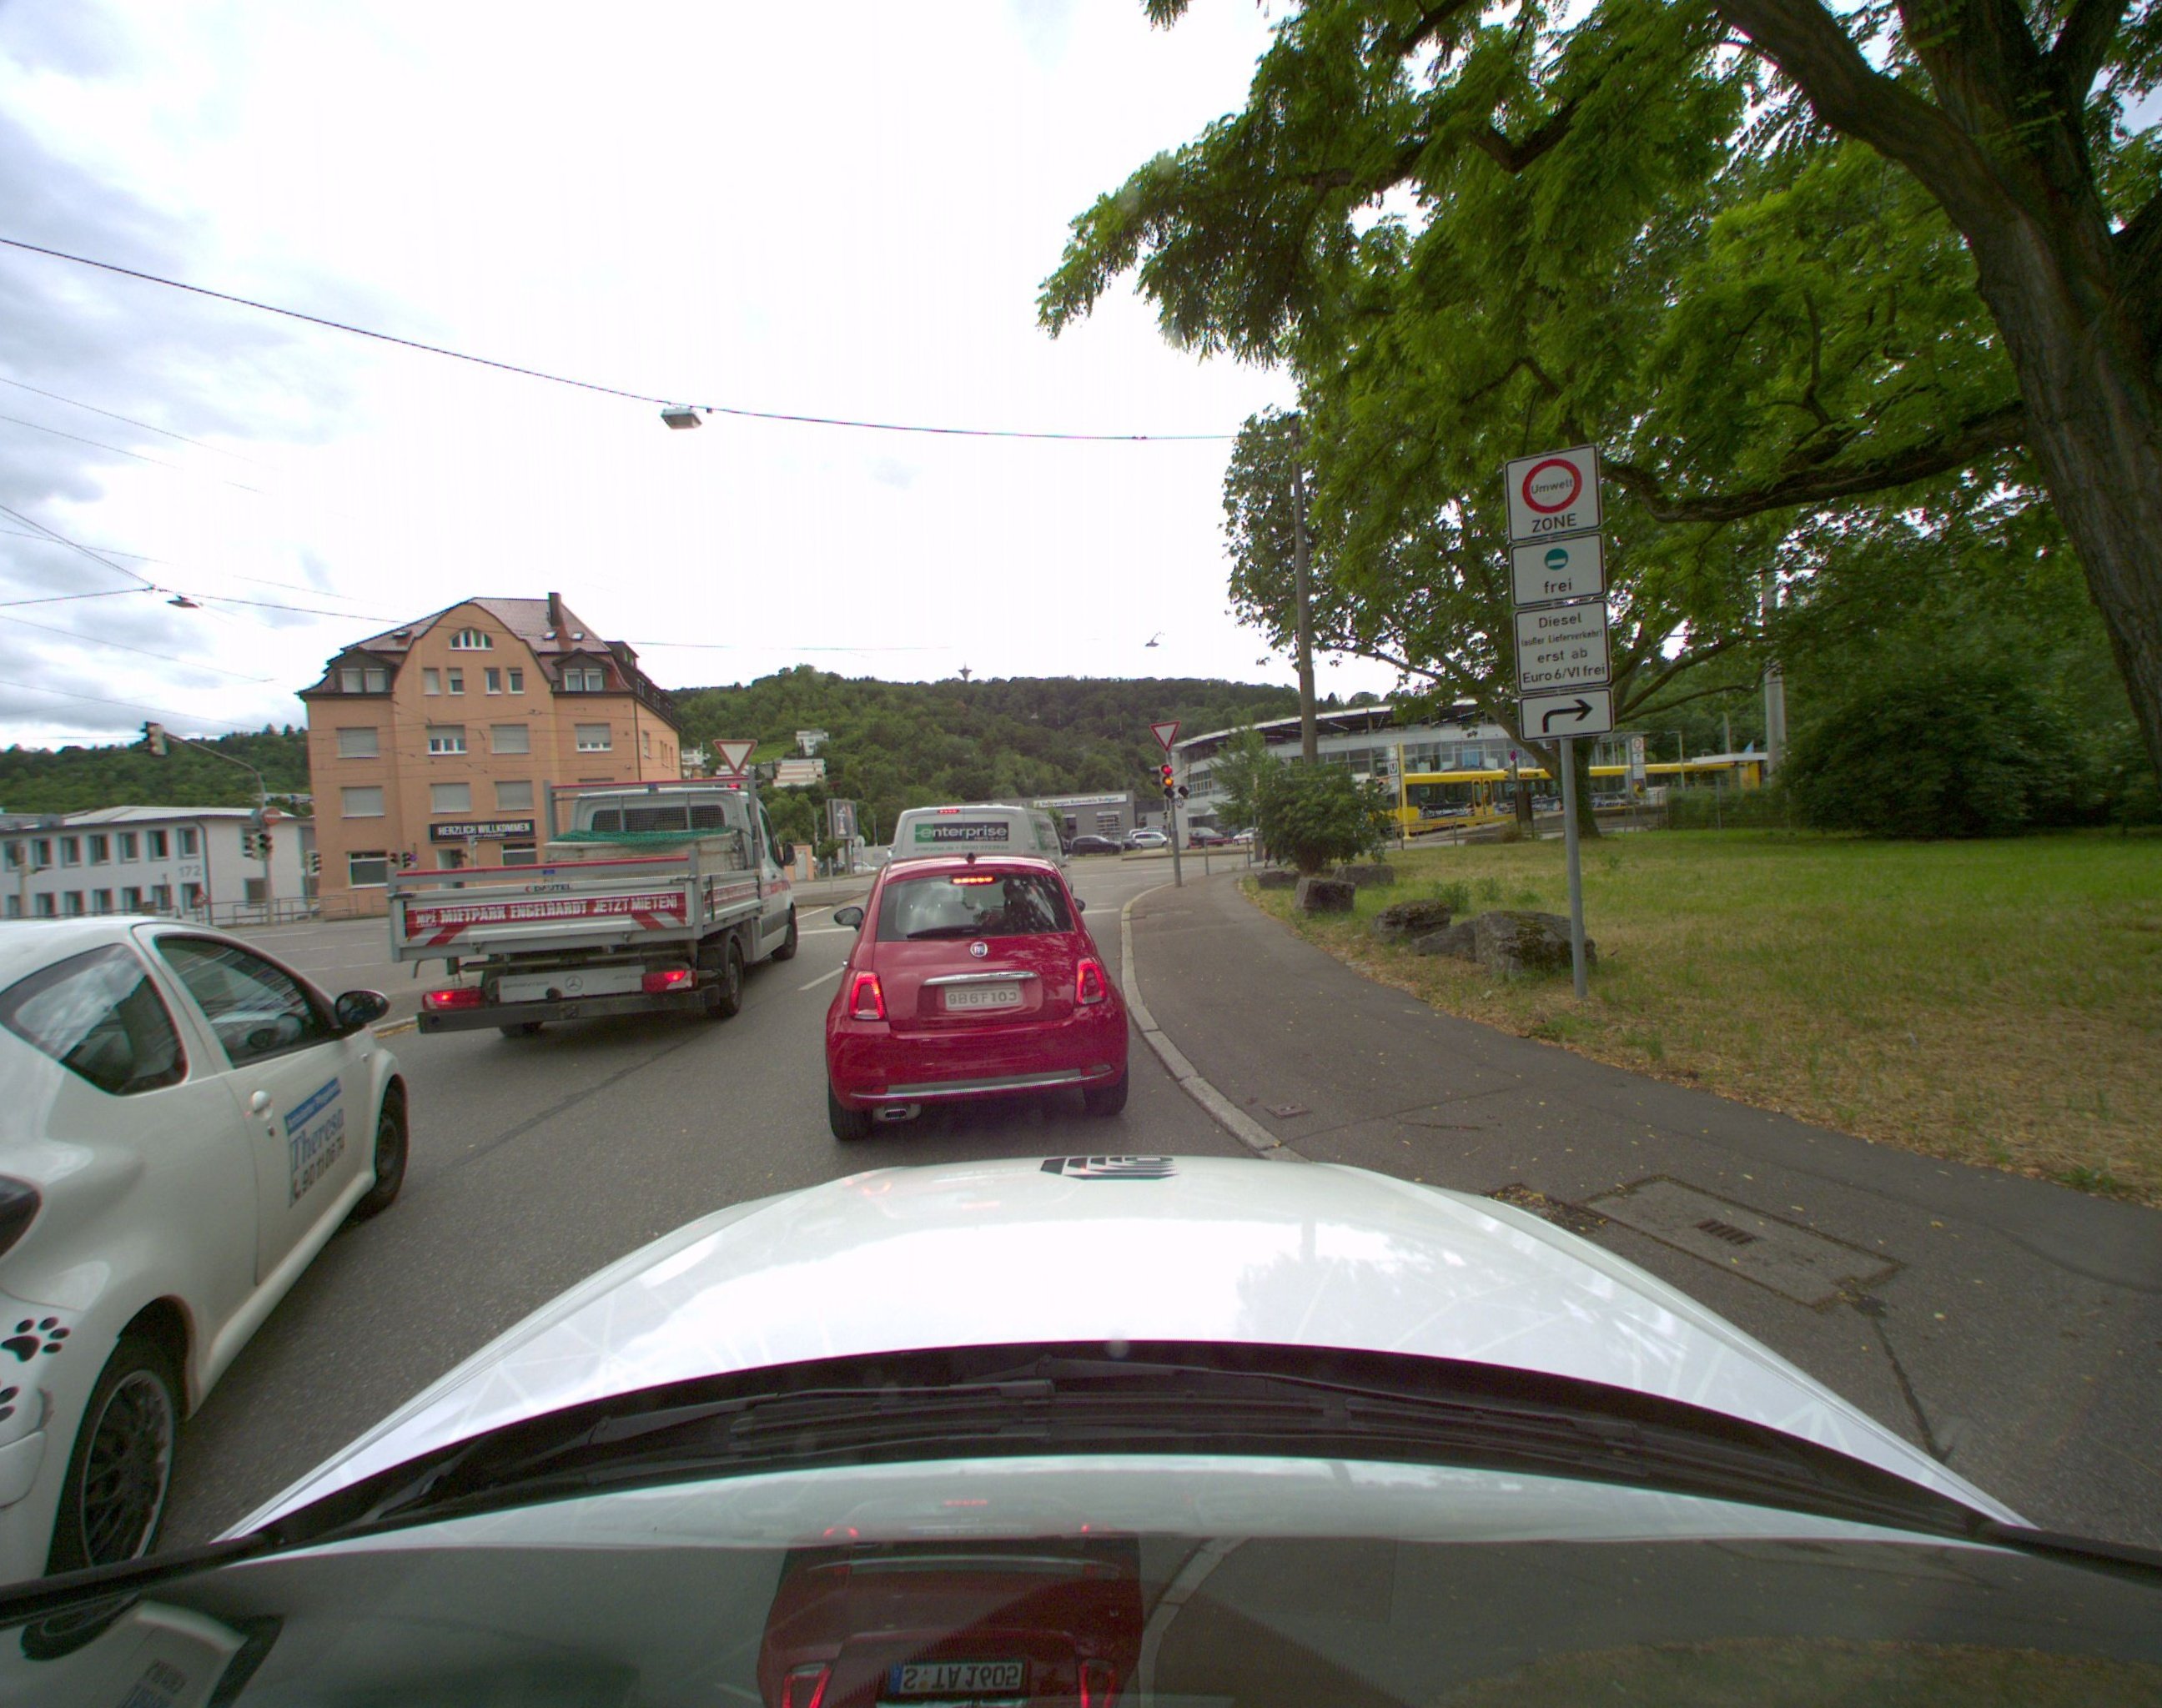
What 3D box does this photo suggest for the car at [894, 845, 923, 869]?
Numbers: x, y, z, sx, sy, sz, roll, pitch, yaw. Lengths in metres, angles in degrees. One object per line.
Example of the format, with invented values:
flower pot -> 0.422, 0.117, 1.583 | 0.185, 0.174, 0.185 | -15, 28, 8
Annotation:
car -> -14.541, 0.247, 68.929 | 1.858, 1.817, 4.392 | -4, 1, -7

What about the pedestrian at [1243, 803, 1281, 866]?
pedestrian -> 5.489, -0.593, 24.667 | 0.686, 1.857, 0.793 | -3, 1, 45

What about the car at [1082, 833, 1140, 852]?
car -> 2.584, -0.986, 70.590 | 4.636, 1.327, 1.783 | -4, 1, 15

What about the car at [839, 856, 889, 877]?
car -> -19.585, 1.122, 73.624 | 4.209, 1.533, 1.767 | -4, 1, -14

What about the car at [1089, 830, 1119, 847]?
car -> 2.859, -1.898, 99.723 | 1.974, 1.815, 4.026 | -3, 1, 29

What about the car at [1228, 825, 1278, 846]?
car -> 14.068, -1.526, 66.706 | 1.781, 1.500, 3.984 | -4, 1, -29

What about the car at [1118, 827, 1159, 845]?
car -> 6.819, -2.120, 96.277 | 4.774, 1.802, 1.778 | -4, 1, 4

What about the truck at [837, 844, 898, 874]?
truck -> -20.099, 0.435, 76.723 | 5.211, 2.393, 1.983 | -4, 1, -26

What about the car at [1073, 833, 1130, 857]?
car -> 1.533, -0.697, 61.526 | 3.837, 1.500, 1.784 | -3, 1, 18

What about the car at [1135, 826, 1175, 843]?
car -> 9.191, -2.377, 101.117 | 4.774, 1.802, 1.778 | -4, 1, 4

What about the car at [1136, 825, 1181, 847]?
car -> 8.489, -1.987, 89.544 | 4.774, 2.156, 2.237 | -4, 1, 4

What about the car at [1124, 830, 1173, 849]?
car -> 6.713, -1.470, 81.116 | 4.774, 1.533, 1.778 | -4, 1, 4

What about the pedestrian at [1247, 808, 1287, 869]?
pedestrian -> 5.410, -0.456, 23.691 | 0.792, 1.714, 0.687 | -5, 1, -40

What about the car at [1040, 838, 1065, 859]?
car -> -2.718, -0.596, 79.095 | 1.985, 1.815, 4.004 | -4, 1, 3

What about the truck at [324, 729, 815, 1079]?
truck -> -4.684, 0.308, 9.004 | 2.423, 2.397, 6.006 | -4, 1, -11

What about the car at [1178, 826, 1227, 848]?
car -> 9.673, -1.338, 65.111 | 1.782, 1.500, 3.843 | -4, 1, -31

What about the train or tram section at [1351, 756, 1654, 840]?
train or tram section -> 24.273, -3.274, 46.185 | 19.184, 3.665, 3.255 | -4, 1, -21

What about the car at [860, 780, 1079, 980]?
car -> -1.267, 0.242, 11.529 | 1.981, 2.106, 4.767 | -4, 1, 4

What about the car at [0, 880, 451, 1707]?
car -> -3.307, 0.877, 2.459 | 1.649, 1.432, 3.398 | -5, 1, -30

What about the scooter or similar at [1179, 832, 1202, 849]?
scooter or similar -> 8.379, -1.002, 62.284 | 1.658, 1.177, 0.469 | -4, 1, 9

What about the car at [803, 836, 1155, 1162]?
car -> -0.729, 0.671, 5.669 | 1.638, 1.456, 3.420 | -3, 1, -9

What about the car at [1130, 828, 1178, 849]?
car -> 7.588, -1.628, 84.643 | 4.774, 1.802, 1.778 | -4, 1, 4

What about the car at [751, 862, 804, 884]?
car -> -26.672, 1.658, 71.583 | 4.218, 1.533, 1.763 | -4, 1, -20

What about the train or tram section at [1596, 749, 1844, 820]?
train or tram section -> 42.045, -4.629, 53.210 | 19.184, 3.665, 3.255 | -4, 1, -21
